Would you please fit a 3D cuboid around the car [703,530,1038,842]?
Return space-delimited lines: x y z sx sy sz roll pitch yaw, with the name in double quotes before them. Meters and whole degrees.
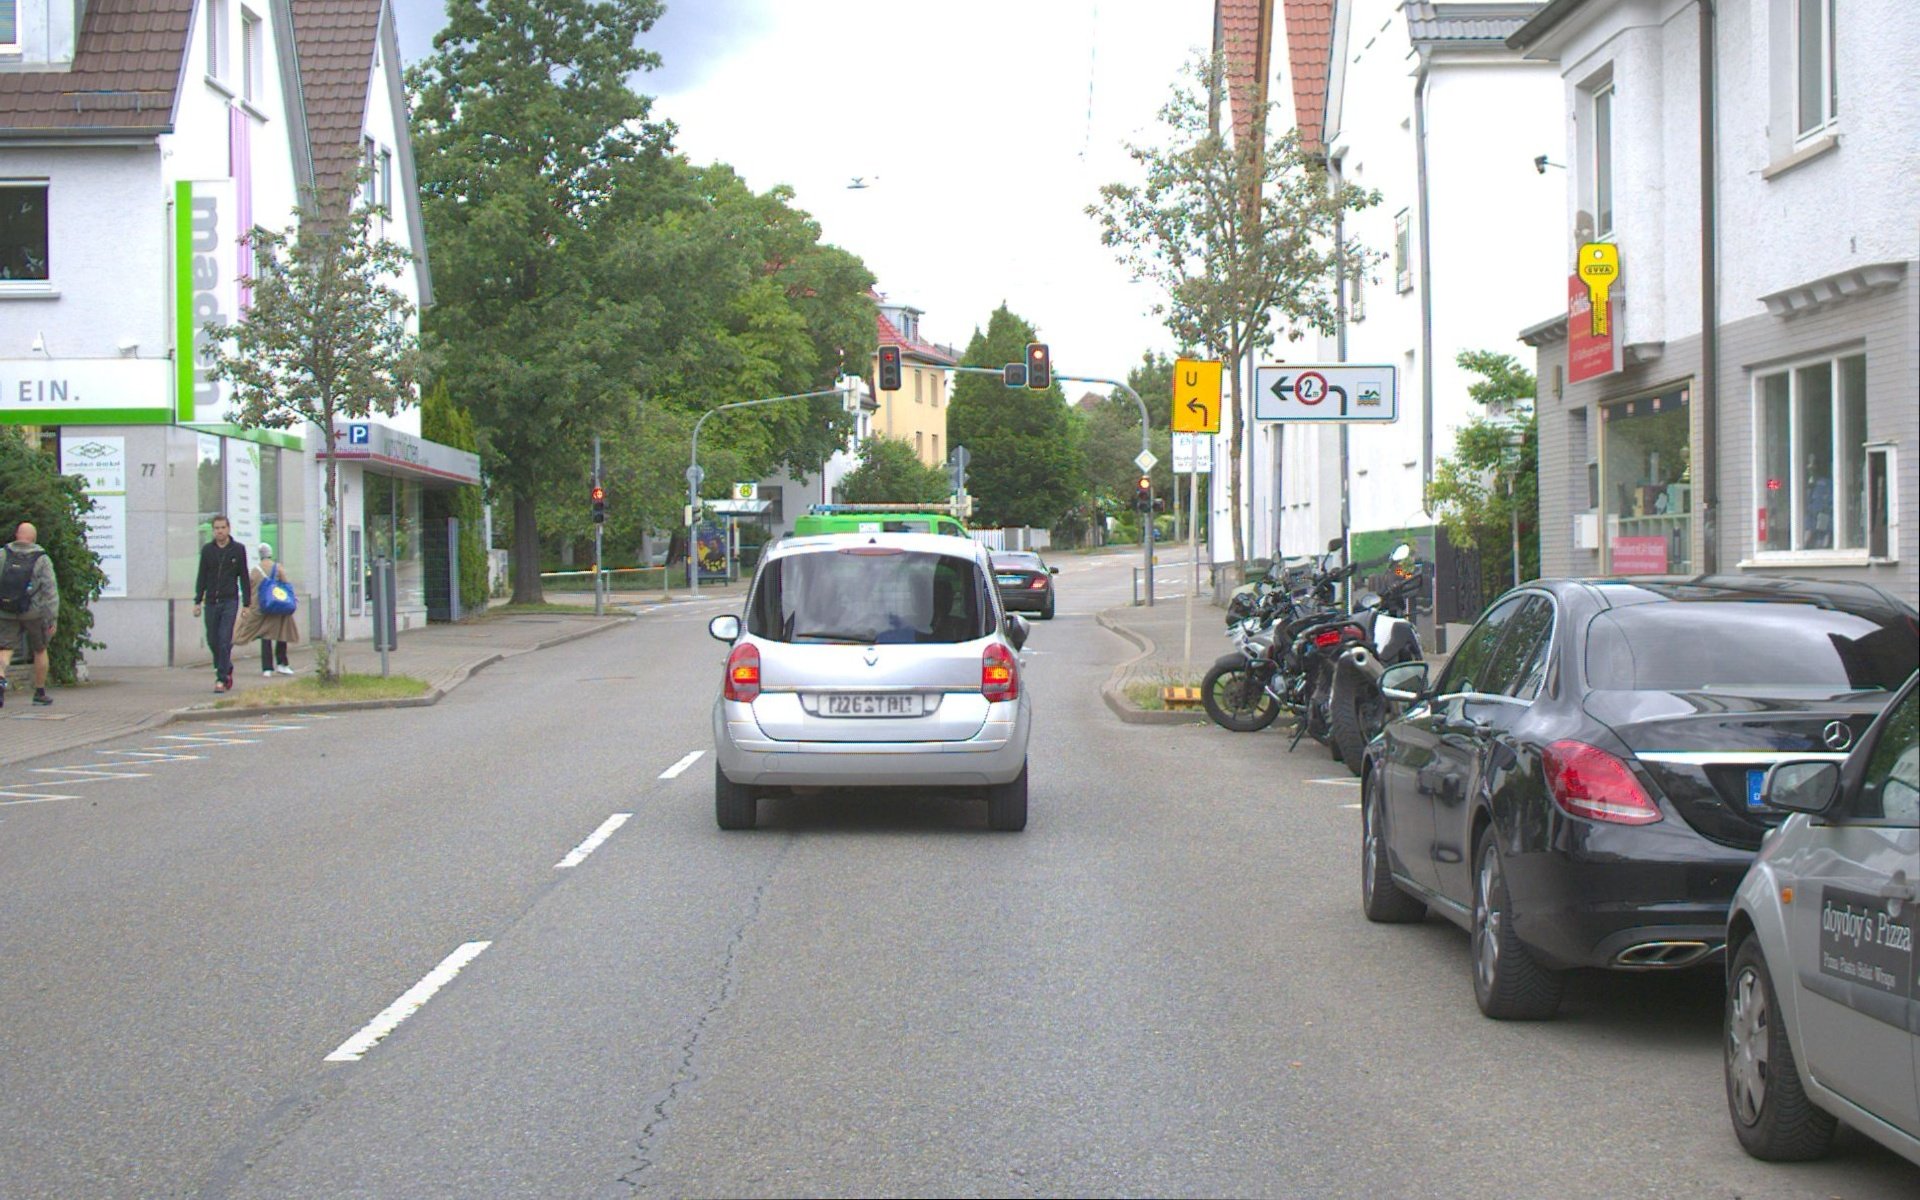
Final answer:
"car" -0.445 0.409 19.425 1.682 1.560 3.993 1 1 0

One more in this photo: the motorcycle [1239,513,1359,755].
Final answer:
"motorcycle" 2.430 0.212 24.451 0.698 1.633 2.408 0 1 9

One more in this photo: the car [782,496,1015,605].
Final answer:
"car" -1.664 -1.342 93.608 5.928 2.897 2.255 0 1 -25

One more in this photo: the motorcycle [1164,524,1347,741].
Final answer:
"motorcycle" 2.305 0.228 27.137 0.697 1.633 2.410 0 1 -14

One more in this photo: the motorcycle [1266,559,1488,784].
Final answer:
"motorcycle" 2.821 0.435 22.968 0.699 1.404 2.713 1 1 24

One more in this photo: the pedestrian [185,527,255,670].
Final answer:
"pedestrian" -9.152 -0.028 42.516 0.716 1.750 0.696 0 1 -1

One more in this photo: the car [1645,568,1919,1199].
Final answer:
"car" 2.718 0.654 7.275 1.700 1.425 3.891 0 1 -1

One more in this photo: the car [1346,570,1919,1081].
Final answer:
"car" 2.481 0.639 12.087 1.700 1.462 4.239 0 1 -1

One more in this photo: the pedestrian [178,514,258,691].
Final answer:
"pedestrian" -7.941 0.021 36.811 0.716 1.869 0.696 0 1 -1

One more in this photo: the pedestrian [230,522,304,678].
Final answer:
"pedestrian" -8.427 -0.003 41.823 0.762 1.869 0.696 0 1 -1

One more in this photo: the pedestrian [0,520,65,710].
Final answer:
"pedestrian" -9.038 0.132 32.822 0.762 1.785 0.890 0 1 -1
